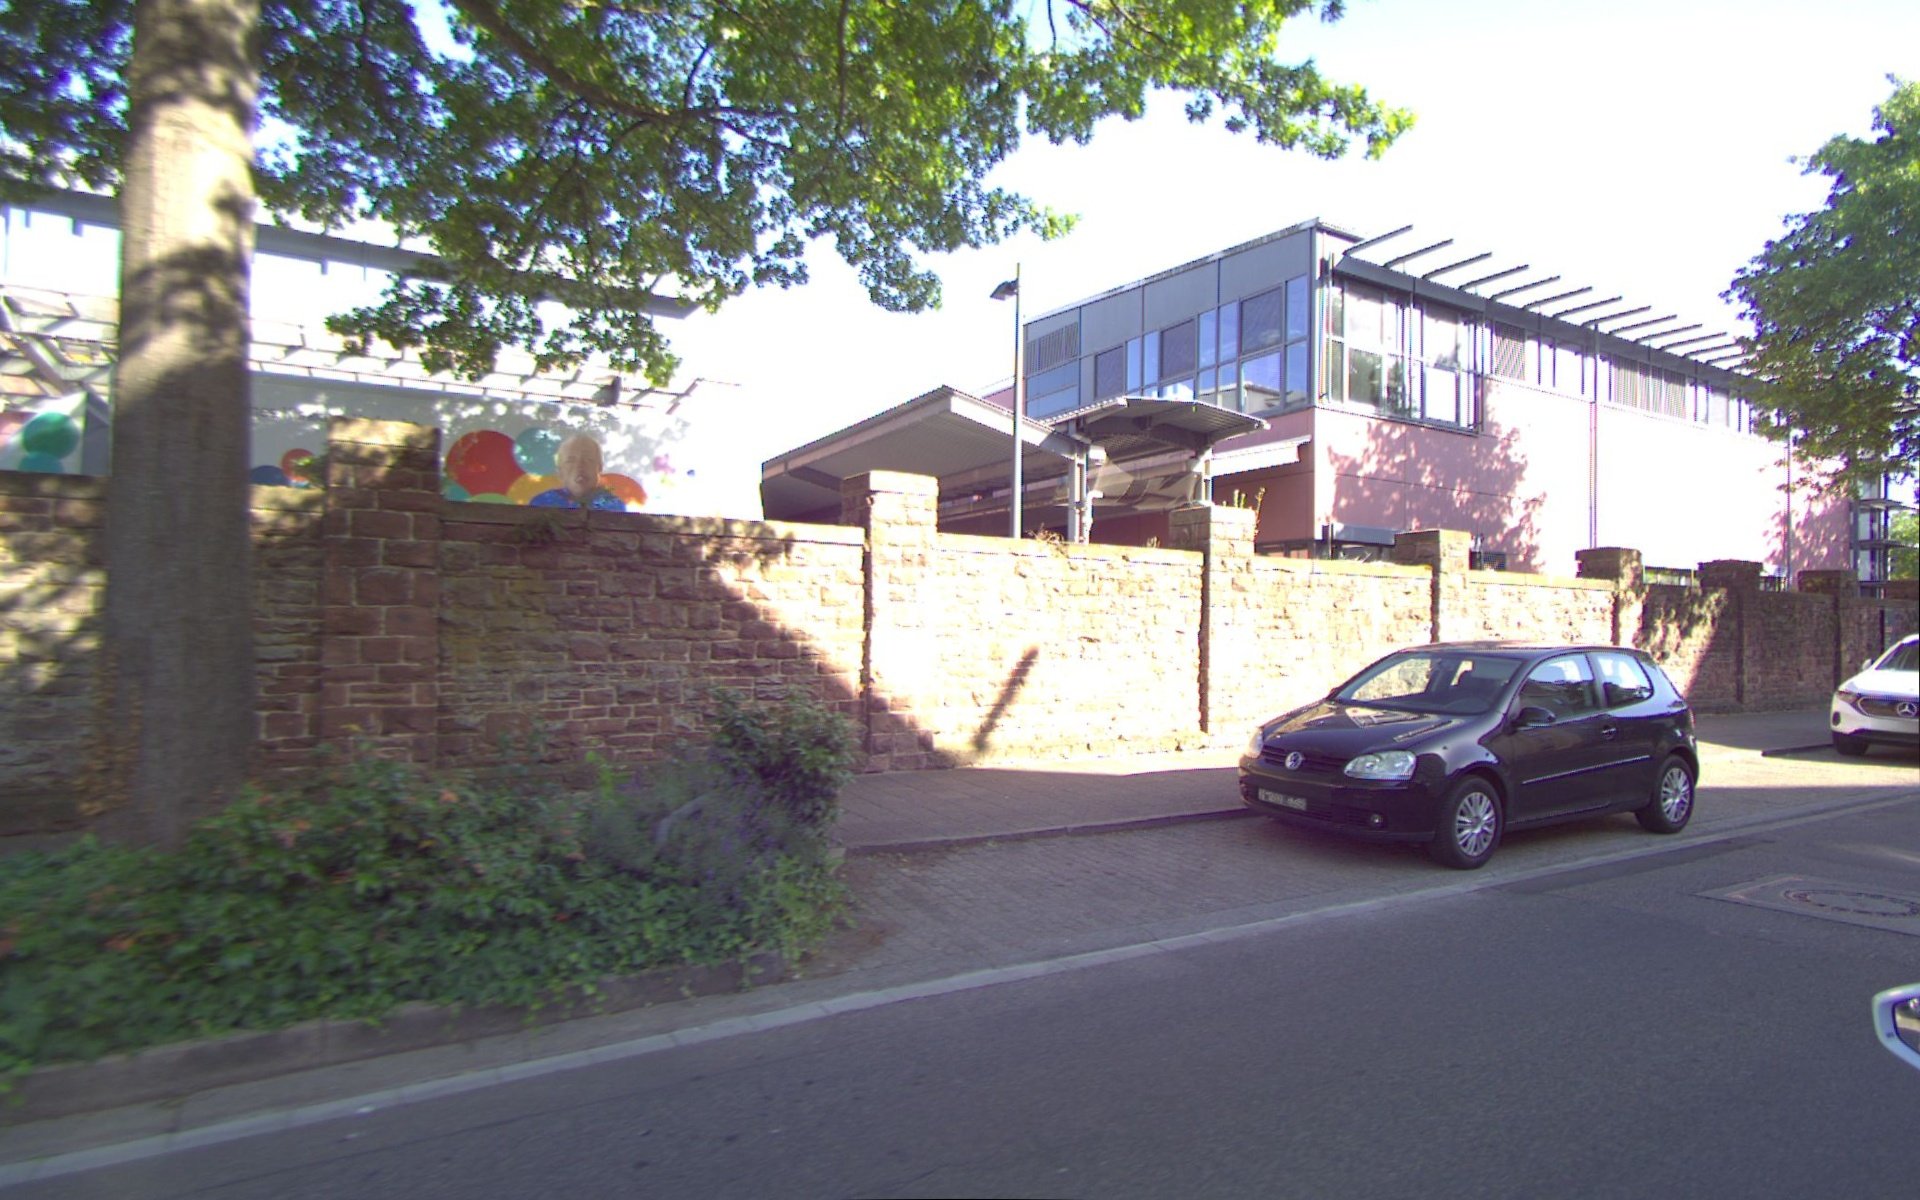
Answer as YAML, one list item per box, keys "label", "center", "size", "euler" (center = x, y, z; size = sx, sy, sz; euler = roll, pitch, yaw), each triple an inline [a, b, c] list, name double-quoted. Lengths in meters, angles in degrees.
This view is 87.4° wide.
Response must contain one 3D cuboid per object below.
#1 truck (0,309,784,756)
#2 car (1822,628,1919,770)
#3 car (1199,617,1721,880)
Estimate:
- label: "truck"
  center: [-5.985, -0.492, 11.326]
  size: [7.343, 3.761, 2.718]
  euler: [2, 0, -31]
- label: "car"
  center: [13.420, 1.261, 13.419]
  size: [4.303, 1.706, 1.711]
  euler: [2, -2, -32]
- label: "car"
  center: [4.016, 0.976, 7.936]
  size: [4.057, 1.613, 1.729]
  euler: [2, -1, -29]
